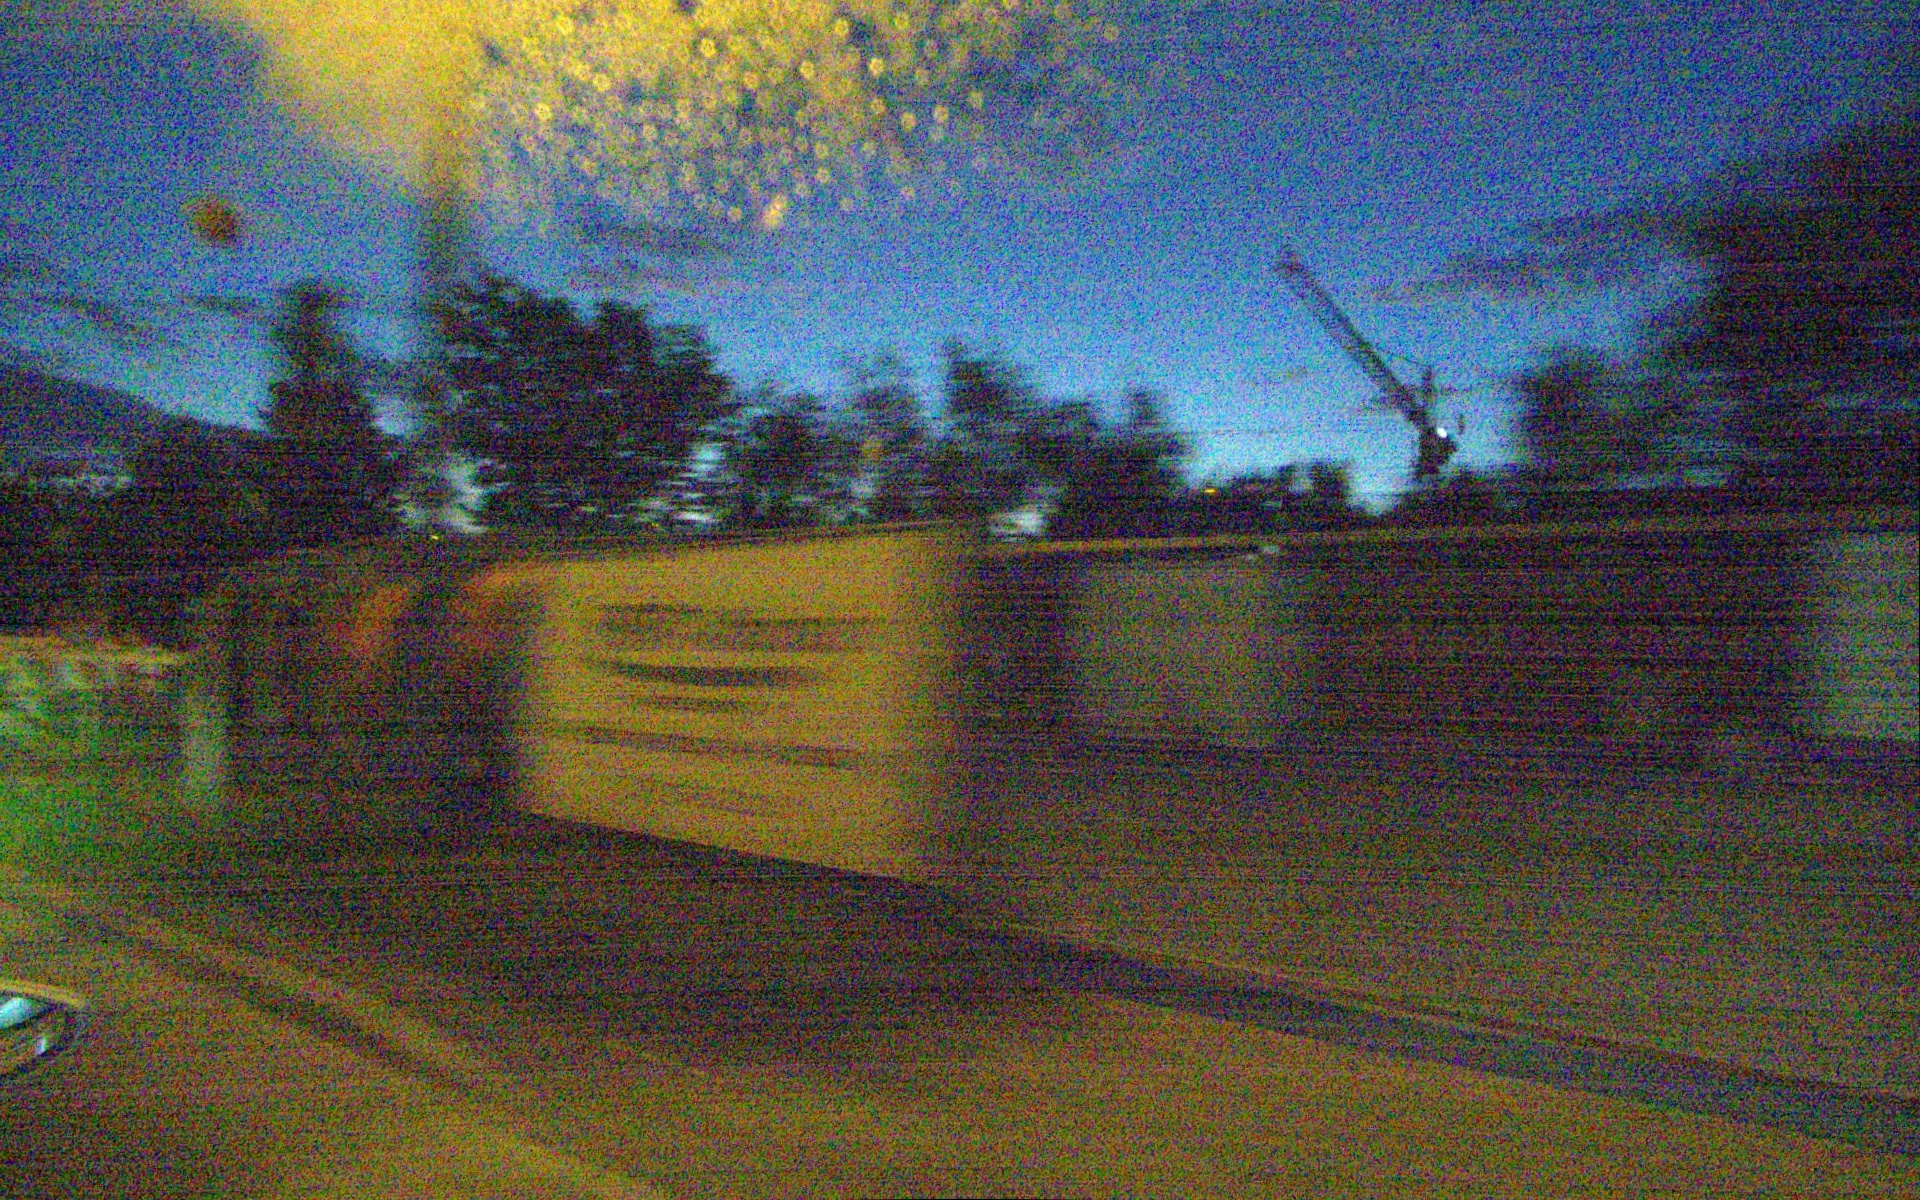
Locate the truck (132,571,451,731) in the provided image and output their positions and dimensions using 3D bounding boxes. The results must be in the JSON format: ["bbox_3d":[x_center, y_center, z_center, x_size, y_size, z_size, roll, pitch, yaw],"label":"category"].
[{"bbox_3d":[-12.411,0.876,18.351,7.213,2.453,2.180,0,-3,34],"label":"truck"}]

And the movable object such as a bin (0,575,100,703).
[{"bbox_3d":[-18.581,0.779,19.840,1.588,2.413,1.683,1,-2,20],"label":"movable object such as a bin"}]
